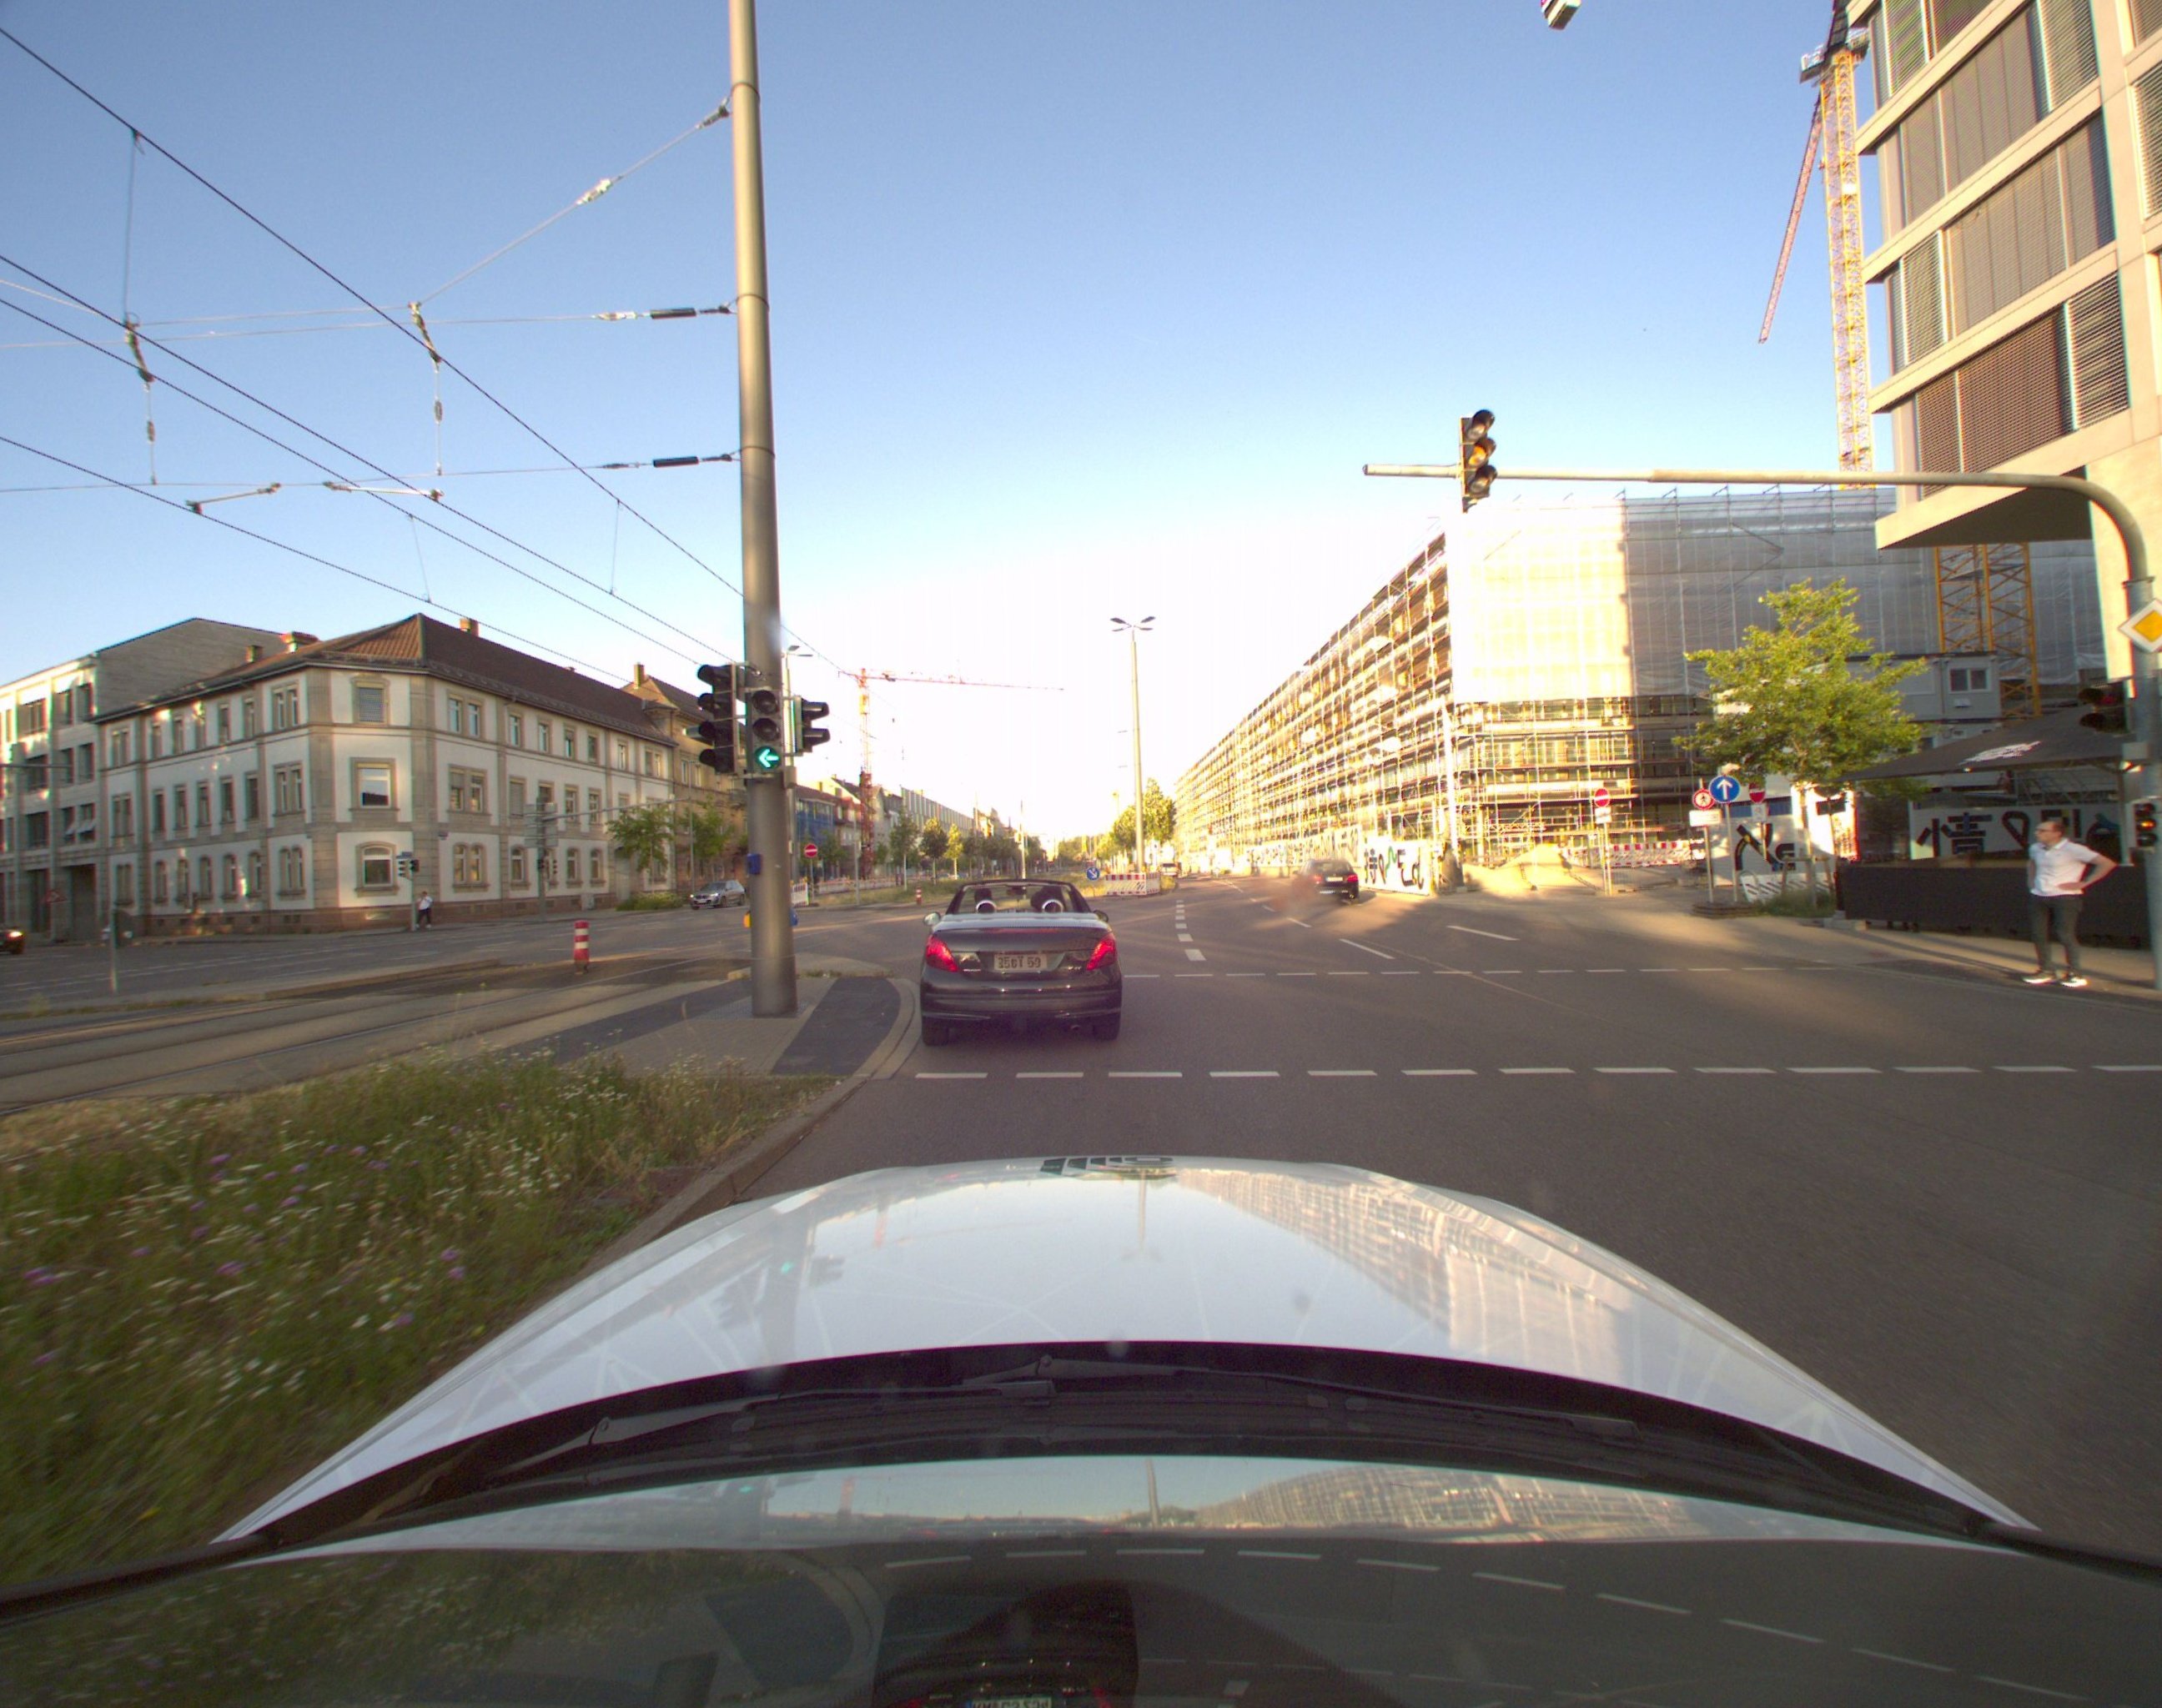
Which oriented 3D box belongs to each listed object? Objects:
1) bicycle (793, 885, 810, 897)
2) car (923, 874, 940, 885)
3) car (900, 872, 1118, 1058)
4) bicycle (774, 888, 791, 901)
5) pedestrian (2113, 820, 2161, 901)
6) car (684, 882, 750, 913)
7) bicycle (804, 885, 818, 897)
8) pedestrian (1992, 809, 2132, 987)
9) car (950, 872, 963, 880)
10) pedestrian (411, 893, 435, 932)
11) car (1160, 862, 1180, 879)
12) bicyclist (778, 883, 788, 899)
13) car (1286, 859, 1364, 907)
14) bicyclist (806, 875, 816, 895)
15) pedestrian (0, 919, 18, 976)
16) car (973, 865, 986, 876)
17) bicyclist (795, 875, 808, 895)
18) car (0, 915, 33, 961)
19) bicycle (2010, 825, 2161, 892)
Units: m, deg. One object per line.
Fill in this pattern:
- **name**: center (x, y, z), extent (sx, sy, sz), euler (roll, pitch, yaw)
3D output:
- **bicycle**: center (-23.226, 3.051, 67.710), extent (0.769, 0.945, 1.640), euler (0, -1, 1)
- **car**: center (-21.004, 3.537, 114.420), extent (1.651, 1.431, 3.896), euler (0, -1, 2)
- **car**: center (-0.486, 0.903, 8.299), extent (1.668, 1.352, 4.002), euler (-1, -1, 2)
- **bicycle**: center (-23.813, 3.208, 65.013), extent (0.587, 0.989, 1.559), euler (0, -1, 6)
- **pedestrian**: center (18.491, 0.106, 14.000), extent (0.608, 1.319, 0.623), euler (-6, -1, 18)
- **car**: center (-21.784, 2.580, 48.913), extent (1.987, 1.580, 4.124), euler (-4, -1, 1)
- **bicycle**: center (-22.188, 3.030, 67.012), extent (0.587, 0.975, 1.556), euler (0, -1, 1)
- **pedestrian**: center (10.848, 0.468, 9.022), extent (0.679, 1.847, 0.764), euler (-3, -1, -25)
- **car**: center (-22.064, 3.901, 144.671), extent (1.651, 1.431, 3.896), euler (0, -1, 2)
- **pedestrian**: center (-30.002, 2.656, 37.142), extent (0.817, 1.716, 0.696), euler (0, -1, -41)
- **car**: center (9.046, 1.682, 83.063), extent (1.826, 1.672, 4.286), euler (-1, -1, 4)
- **bicyclist**: center (-23.813, 2.931, 65.018), extent (0.587, 1.266, 0.460), euler (0, -1, 6)
- **car**: center (8.480, 0.951, 28.650), extent (1.811, 1.519, 4.800), euler (-1, -1, 7)
- **bicyclist**: center (-22.189, 2.563, 67.019), extent (0.588, 1.569, 0.711), euler (0, -1, 1)
- **pedestrian**: center (-28.677, 2.466, 21.247), extent (0.600, 1.458, 0.938), euler (-1, -1, 8)
- **car**: center (-18.104, 2.902, 144.992), extent (1.651, 1.964, 4.267), euler (0, -1, 2)
- **bicyclist**: center (-23.227, 2.568, 67.714), extent (0.769, 1.571, 0.793), euler (0, -1, 1)
- **car**: center (-41.351, 3.172, 30.632), extent (3.949, 1.556, 1.801), euler (-1, -1, 29)
- **bicycle**: center (19.316, 0.103, 15.715), extent (0.540, 1.210, 1.956), euler (0, -1, 1)
